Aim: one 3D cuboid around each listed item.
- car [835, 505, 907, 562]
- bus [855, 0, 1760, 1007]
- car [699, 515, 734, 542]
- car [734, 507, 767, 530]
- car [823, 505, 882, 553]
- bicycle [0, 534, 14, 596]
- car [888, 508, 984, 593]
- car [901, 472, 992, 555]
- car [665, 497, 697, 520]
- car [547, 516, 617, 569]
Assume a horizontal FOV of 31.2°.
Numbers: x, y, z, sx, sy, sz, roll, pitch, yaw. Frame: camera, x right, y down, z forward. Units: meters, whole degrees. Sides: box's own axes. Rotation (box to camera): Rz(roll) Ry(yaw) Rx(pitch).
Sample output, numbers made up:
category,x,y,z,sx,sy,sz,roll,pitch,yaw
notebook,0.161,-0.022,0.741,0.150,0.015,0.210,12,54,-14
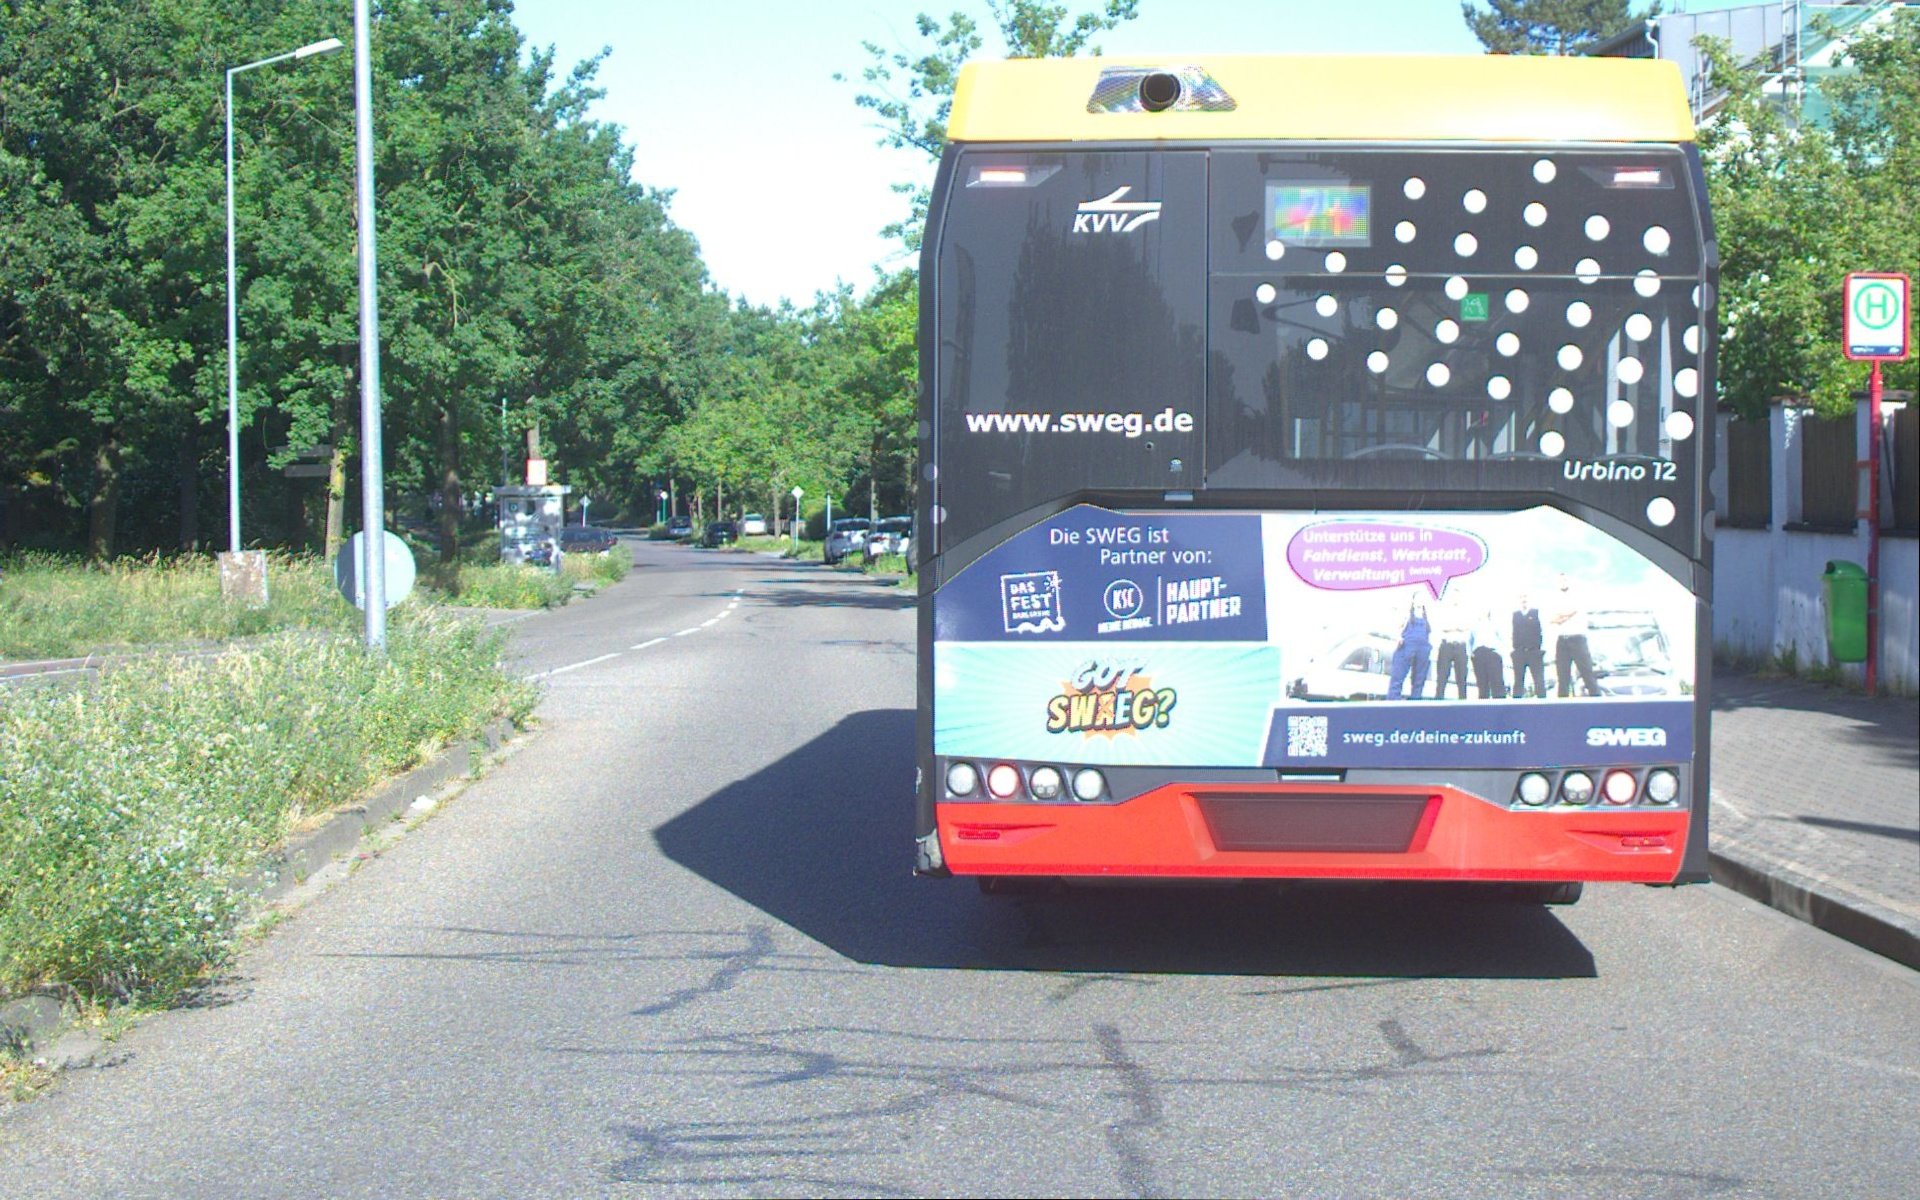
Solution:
category,x,y,z,sx,sy,sz,roll,pitch,yaw
car,-2.703,-2.024,103.854,1.935,1.698,4.001,0,1,-5
bus,1.306,-0.567,16.945,2.757,3.446,12.397,-1,1,2
car,-13.814,-4.062,194.953,1.933,1.537,4.001,0,1,-5
car,-13.496,-5.248,221.120,1.933,1.449,4.001,0,1,-6
car,-3.961,-2.609,126.115,1.933,1.736,4.001,0,1,-5
bicycle,-16.690,-0.592,58.852,0.505,1.050,1.880,0,1,-2
car,-0.497,-0.993,67.839,1.672,1.573,3.752,-2,2,-3
car,-0.361,-2.101,83.657,1.835,1.964,4.760,0,1,-5
car,-17.848,-5.865,219.529,1.933,1.449,4.001,0,1,-6
car,-10.835,-1.674,98.469,1.935,1.474,4.001,0,1,-6
